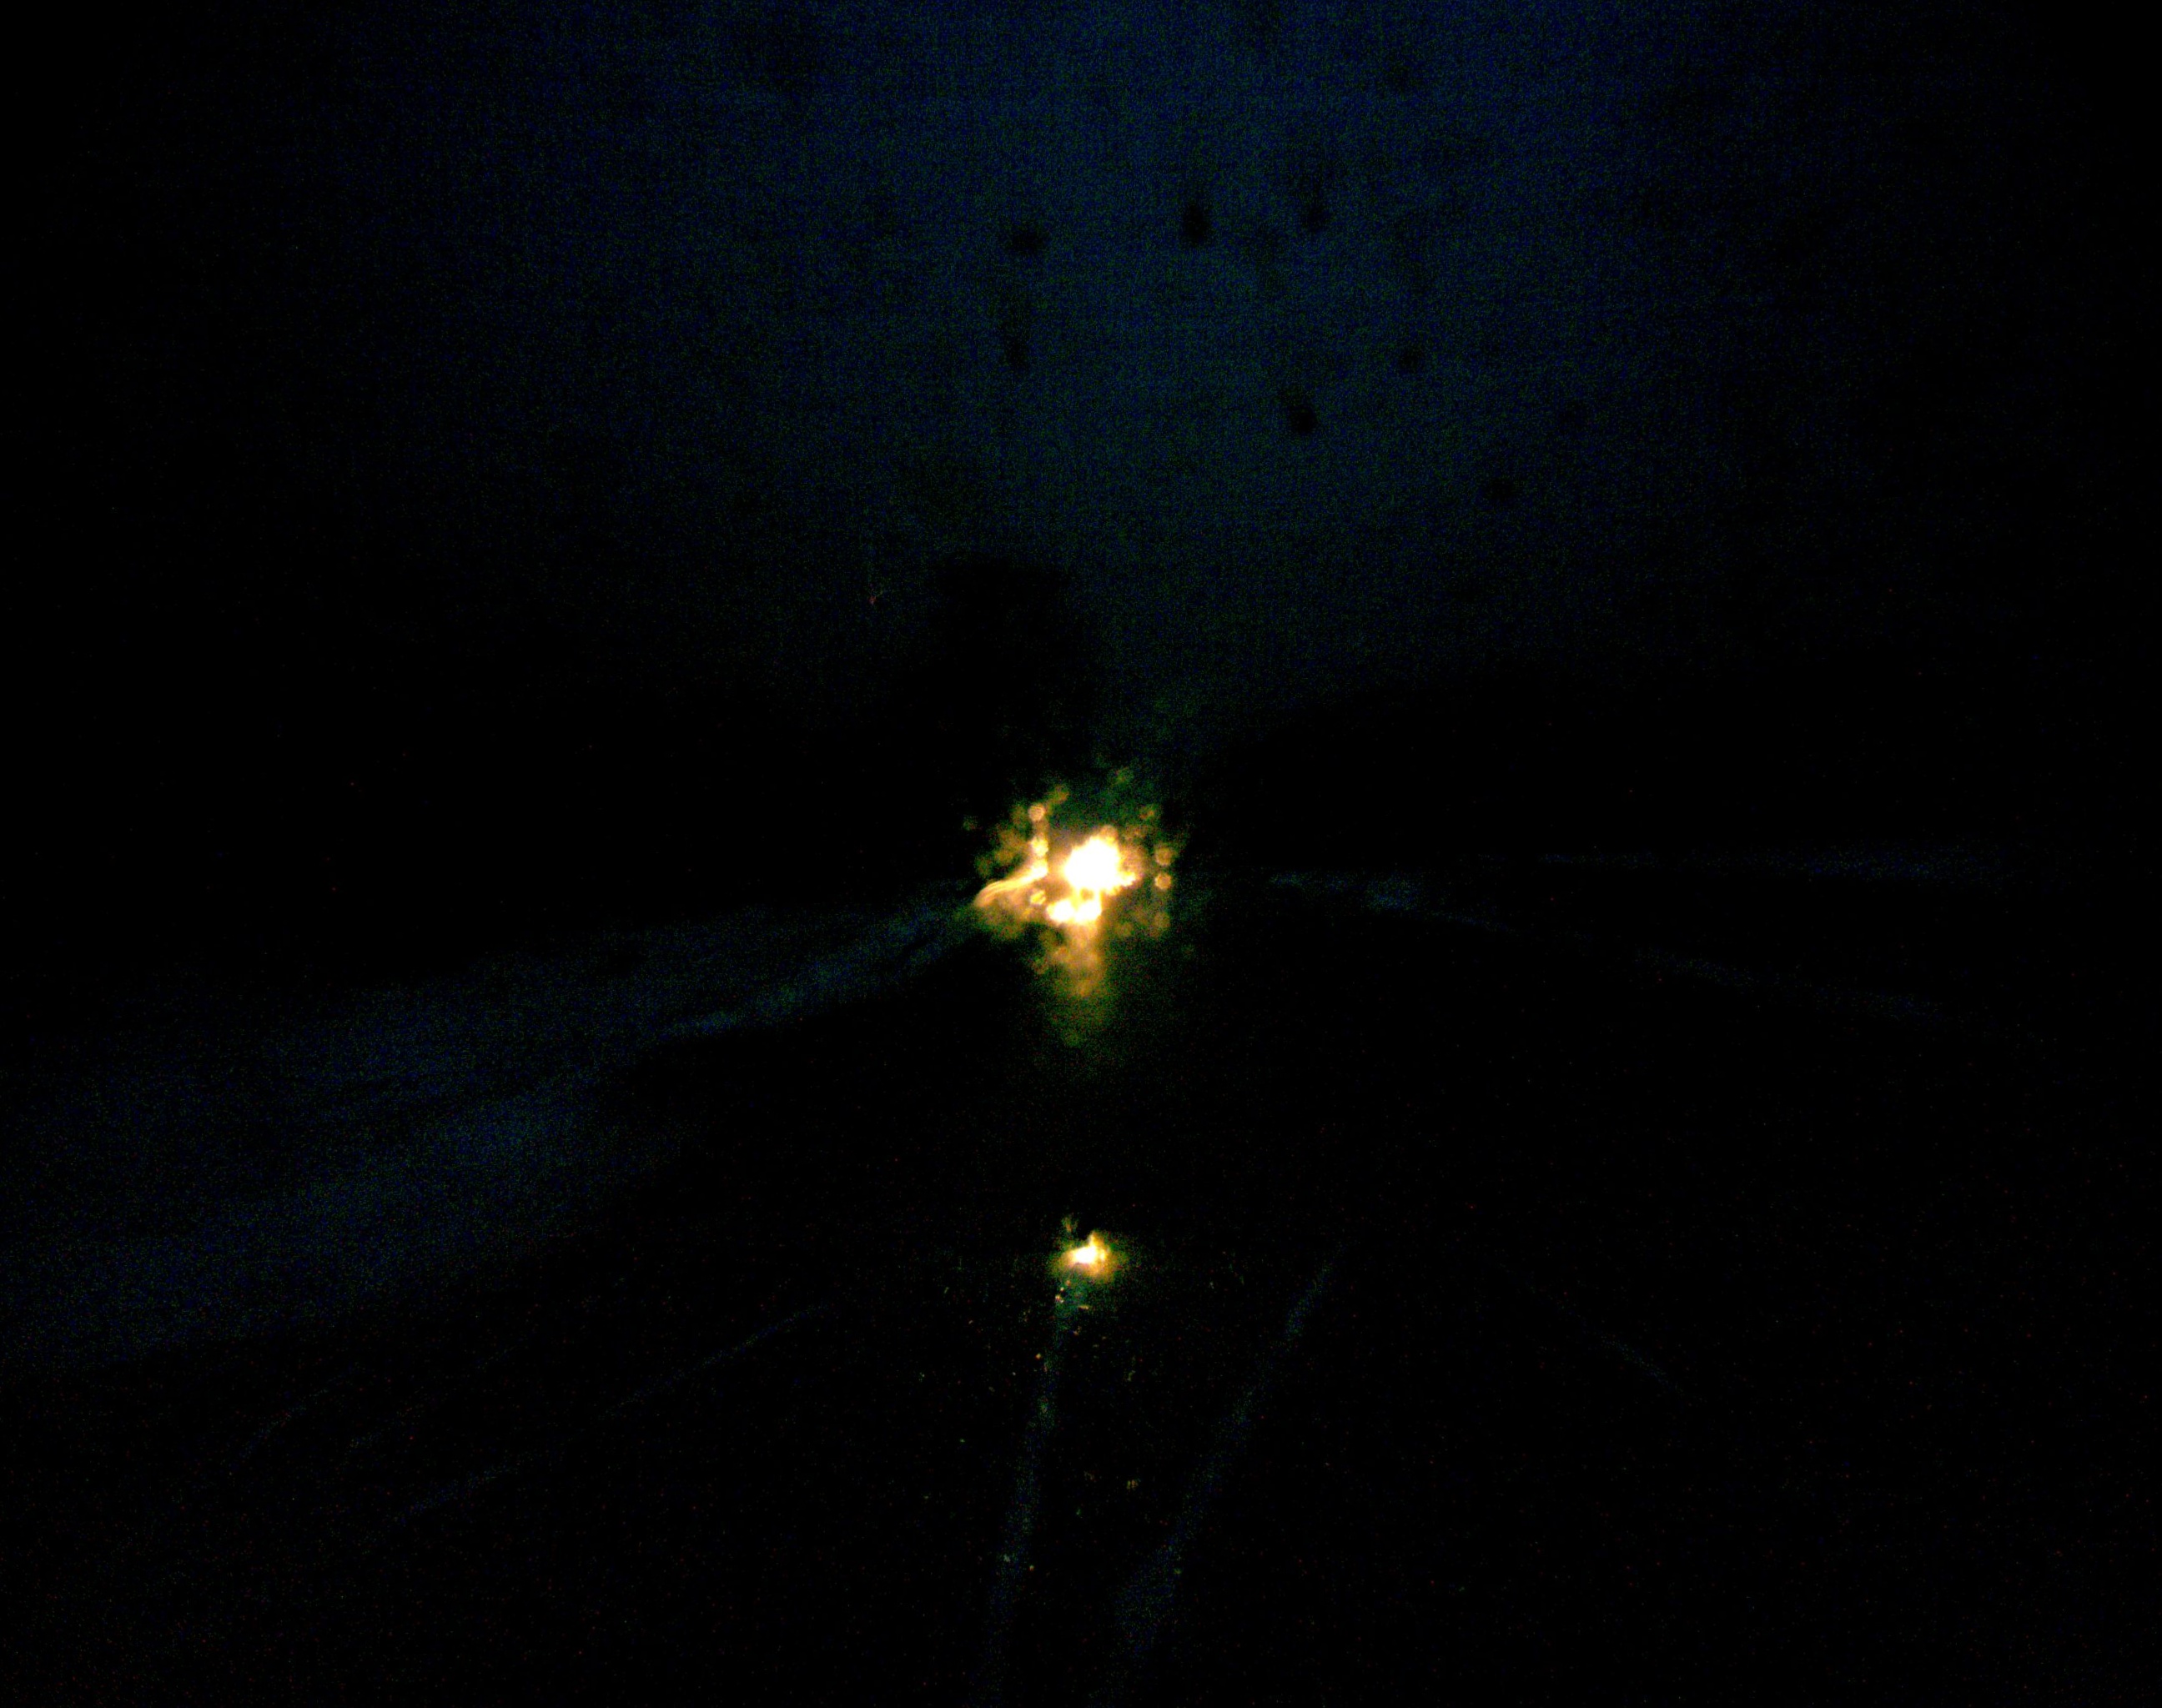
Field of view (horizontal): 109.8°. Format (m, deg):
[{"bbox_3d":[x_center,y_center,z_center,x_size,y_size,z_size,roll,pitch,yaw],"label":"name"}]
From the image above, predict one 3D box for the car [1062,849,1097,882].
[{"bbox_3d":[-0.058,0.747,51.736,1.998,2.002,4.000,-5,1,4],"label":"car"}]
